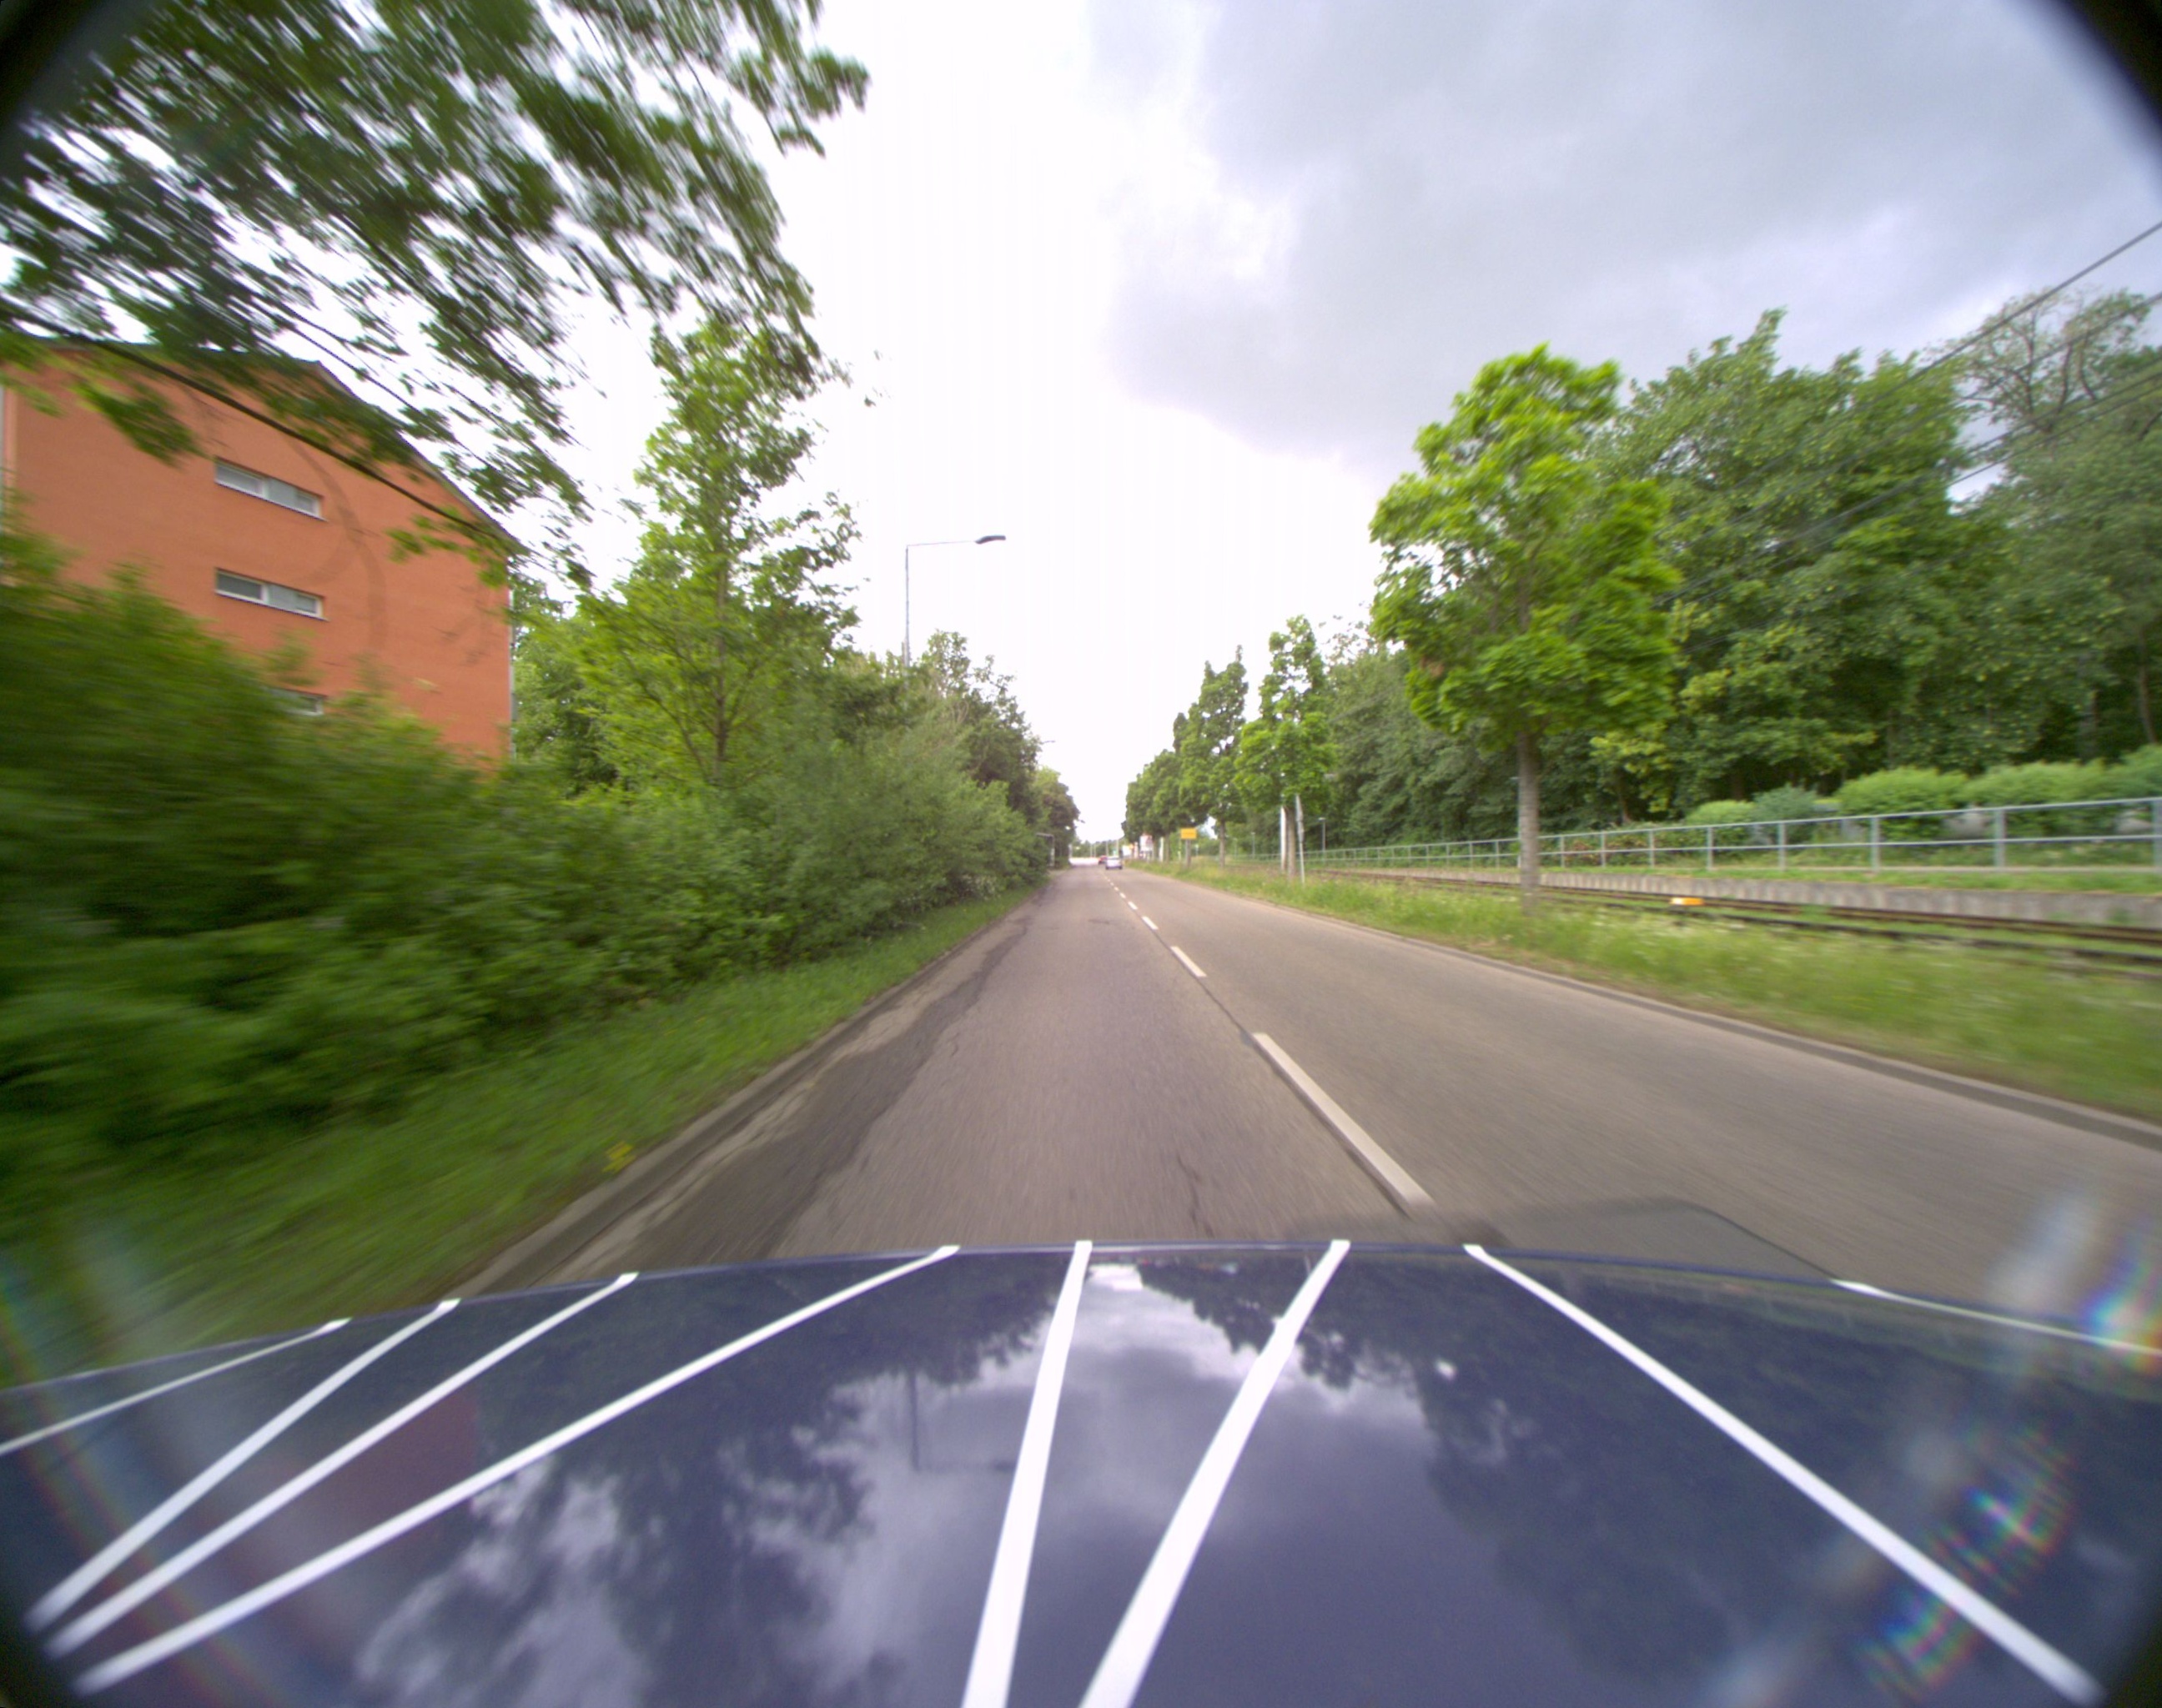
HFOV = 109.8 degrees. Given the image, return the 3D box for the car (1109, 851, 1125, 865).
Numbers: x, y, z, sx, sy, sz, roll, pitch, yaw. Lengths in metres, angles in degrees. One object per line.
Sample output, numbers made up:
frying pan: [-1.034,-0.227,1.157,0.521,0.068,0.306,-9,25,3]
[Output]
car: [4.019,0.465,84.716,1.778,1.460,4.242,-1,0,3]

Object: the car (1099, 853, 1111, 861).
car: [4.258,0.516,135.625,2.038,1.508,3.654,-1,0,1]
